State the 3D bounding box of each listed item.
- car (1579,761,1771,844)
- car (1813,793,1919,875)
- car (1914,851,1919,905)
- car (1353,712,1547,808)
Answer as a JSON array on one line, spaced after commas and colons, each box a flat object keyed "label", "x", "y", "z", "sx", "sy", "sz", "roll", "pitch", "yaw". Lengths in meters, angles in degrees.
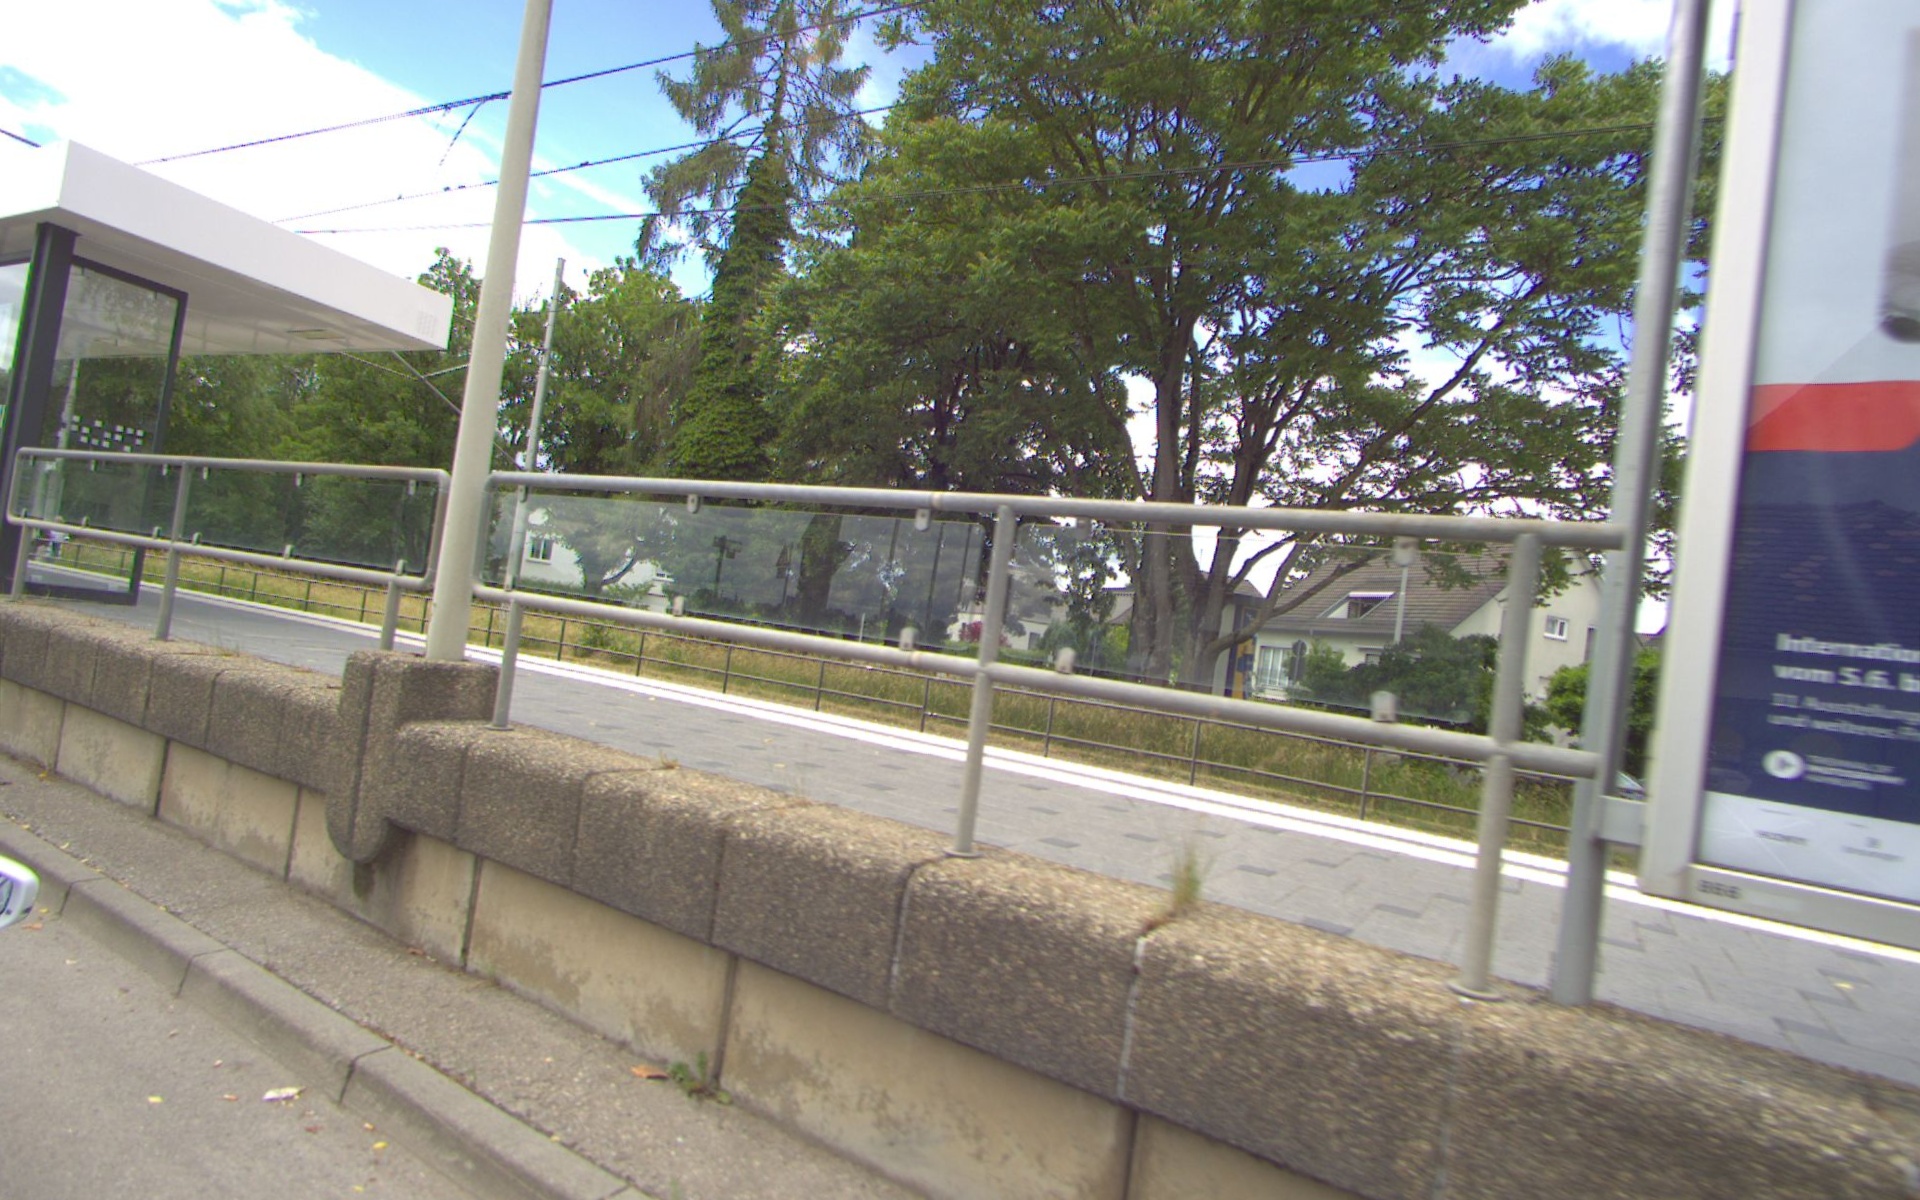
[{"label": "car", "x": 19.407, "y": 5.456, "z": 27.433, "sx": 1.749, "sy": 1.505, "sz": 3.861, "roll": 9, "pitch": -4, "yaw": -38}, {"label": "car", "x": 22.724, "y": 5.588, "z": 22.944, "sx": 1.748, "sy": 1.505, "sz": 4.653, "roll": 9, "pitch": -3, "yaw": -36}, {"label": "car", "x": 16.071, "y": 3.914, "z": 13.493, "sx": 1.833, "sy": 1.504, "sz": 4.455, "roll": 10, "pitch": -3, "yaw": -38}, {"label": "car", "x": 13.512, "y": 4.378, "z": 27.998, "sx": 1.747, "sy": 1.864, "sz": 4.463, "roll": 10, "pitch": -4, "yaw": -34}]
